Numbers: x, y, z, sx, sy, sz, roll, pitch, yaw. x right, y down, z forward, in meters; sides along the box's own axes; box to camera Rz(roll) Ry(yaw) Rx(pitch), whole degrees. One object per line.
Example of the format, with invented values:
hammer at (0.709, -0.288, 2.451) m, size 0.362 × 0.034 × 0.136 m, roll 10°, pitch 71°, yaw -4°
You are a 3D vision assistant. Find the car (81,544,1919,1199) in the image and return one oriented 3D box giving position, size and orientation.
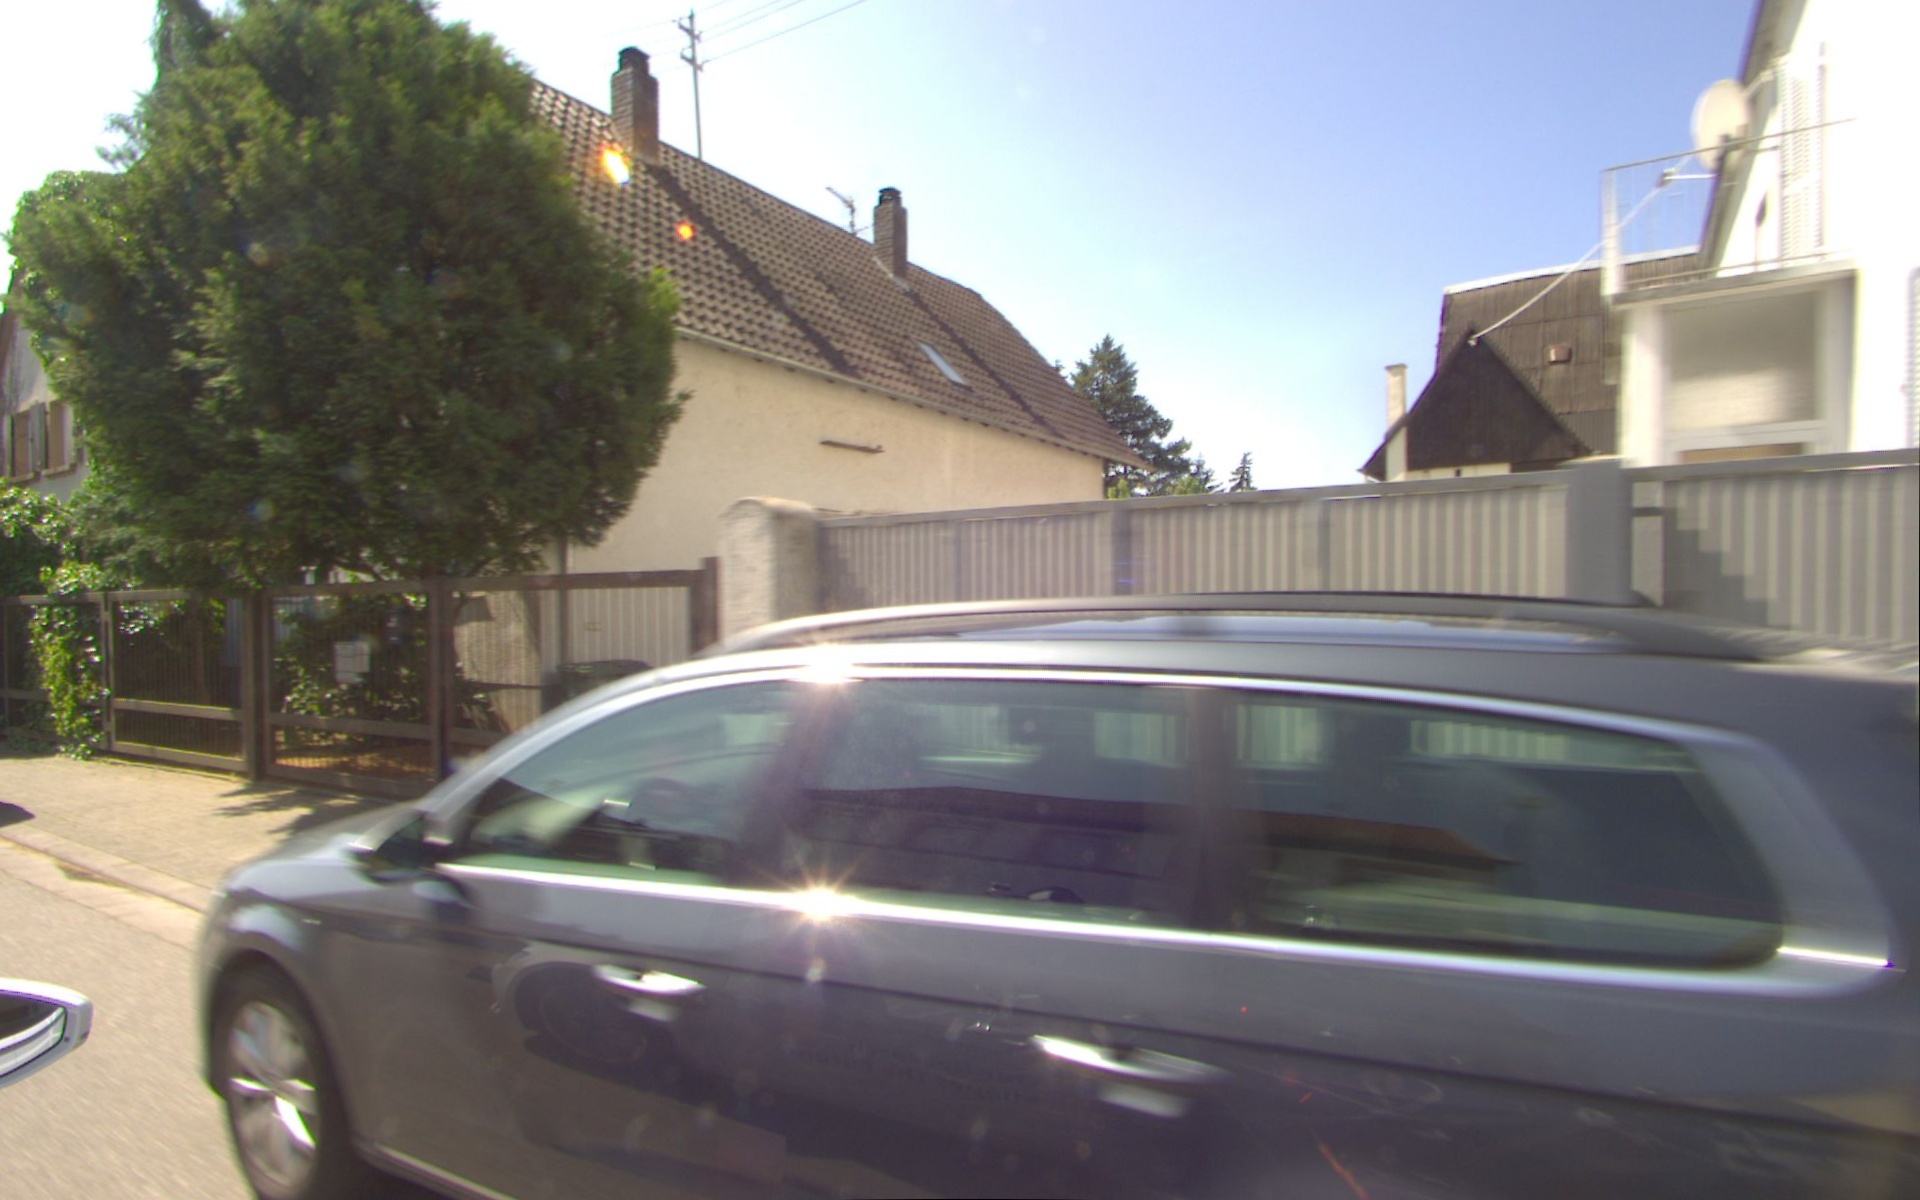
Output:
car at (-0.236, 0.737, 2.631) m, size 4.514 × 1.528 × 1.816 m, roll -1°, pitch 0°, yaw 31°

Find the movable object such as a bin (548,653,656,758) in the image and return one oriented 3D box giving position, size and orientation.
movable object such as a bin at (-3.669, 1.058, 10.310) m, size 0.561 × 0.962 × 0.881 m, roll 0°, pitch 1°, yaw 29°

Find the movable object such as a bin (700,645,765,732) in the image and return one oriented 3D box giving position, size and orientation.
movable object such as a bin at (-2.689, 1.031, 11.845) m, size 0.558 × 0.977 × 0.513 m, roll 0°, pitch 0°, yaw 30°
